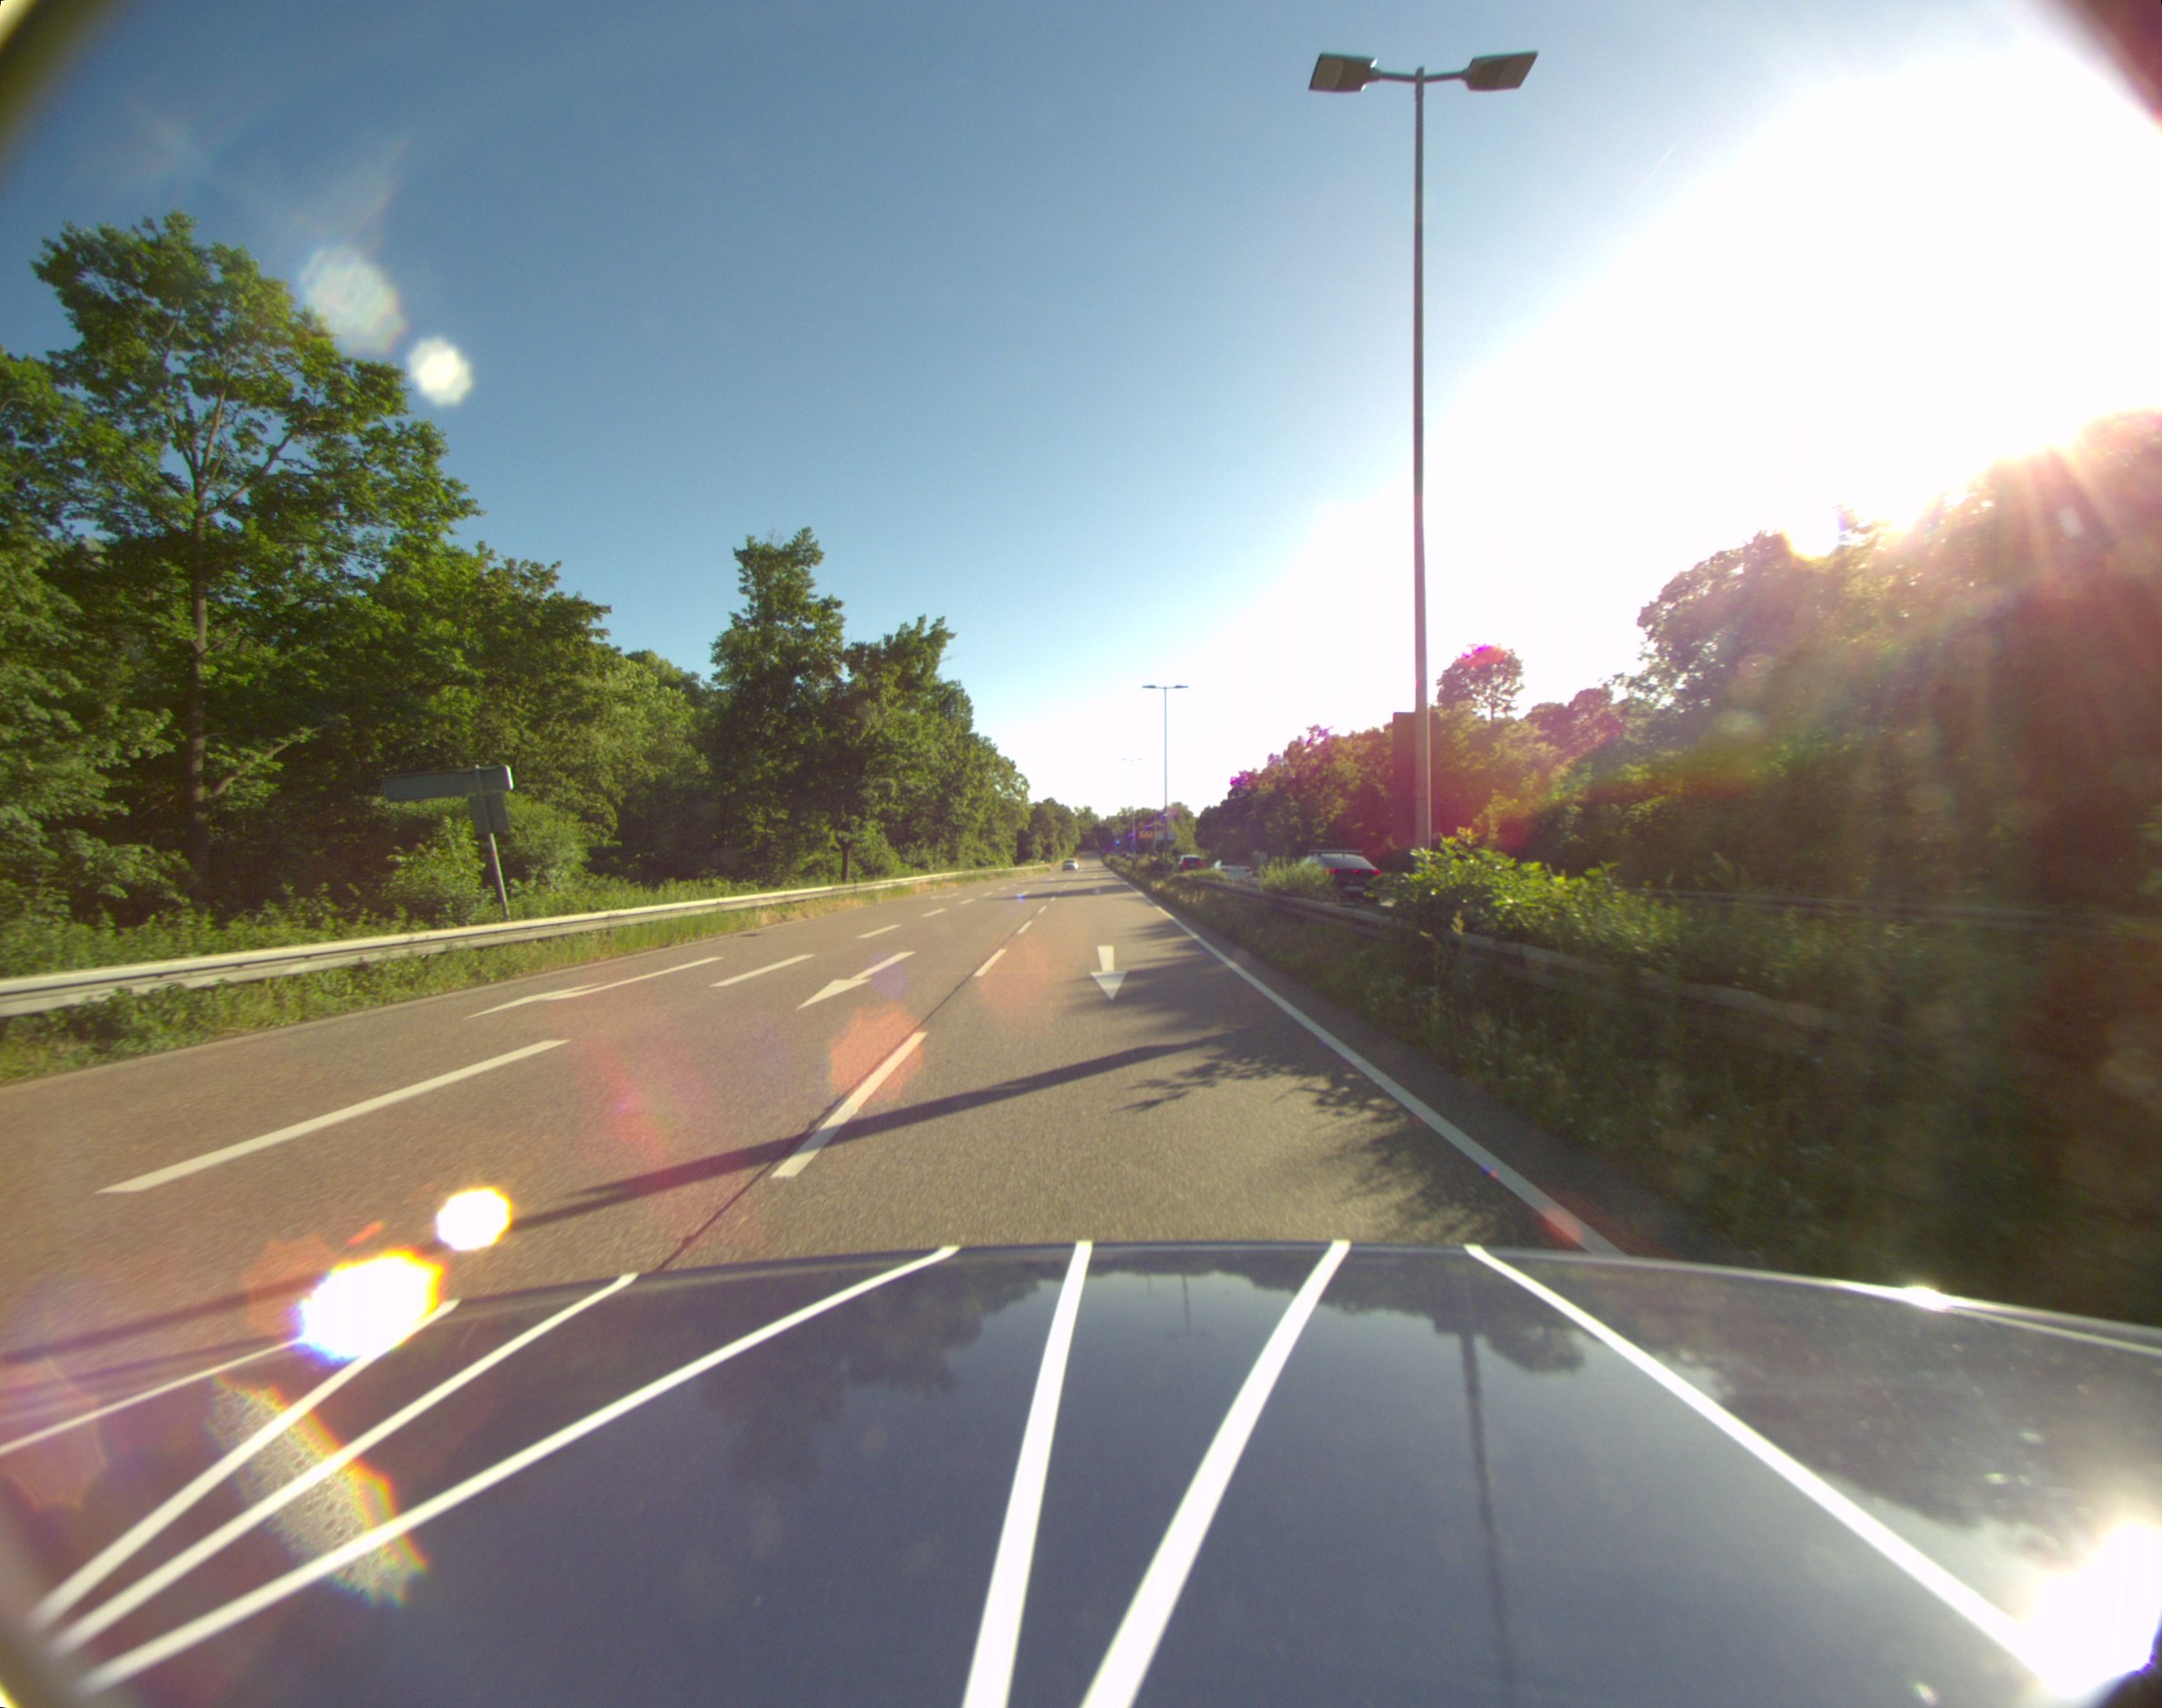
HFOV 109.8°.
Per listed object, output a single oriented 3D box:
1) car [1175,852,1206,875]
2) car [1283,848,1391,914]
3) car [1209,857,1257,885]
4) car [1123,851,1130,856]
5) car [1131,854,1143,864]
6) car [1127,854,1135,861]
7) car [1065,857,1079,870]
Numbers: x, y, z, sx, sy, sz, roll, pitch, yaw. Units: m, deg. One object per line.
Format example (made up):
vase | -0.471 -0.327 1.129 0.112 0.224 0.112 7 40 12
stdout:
car | 8.584 0.729 59.843 1.790 1.700 4.547 2 0 1
car | 7.562 0.738 22.891 1.838 1.761 4.338 -1 0 1
car | 8.169 0.884 41.239 1.777 1.349 4.462 -1 0 1
car | 12.749 -0.213 213.074 1.785 1.395 4.553 0 0 3
car | 10.235 0.963 139.482 1.846 1.747 4.712 0 0 1
car | 11.487 0.745 174.765 1.622 1.521 4.609 0 0 3
car | -1.077 1.177 93.183 1.682 1.477 3.390 0 -1 0
